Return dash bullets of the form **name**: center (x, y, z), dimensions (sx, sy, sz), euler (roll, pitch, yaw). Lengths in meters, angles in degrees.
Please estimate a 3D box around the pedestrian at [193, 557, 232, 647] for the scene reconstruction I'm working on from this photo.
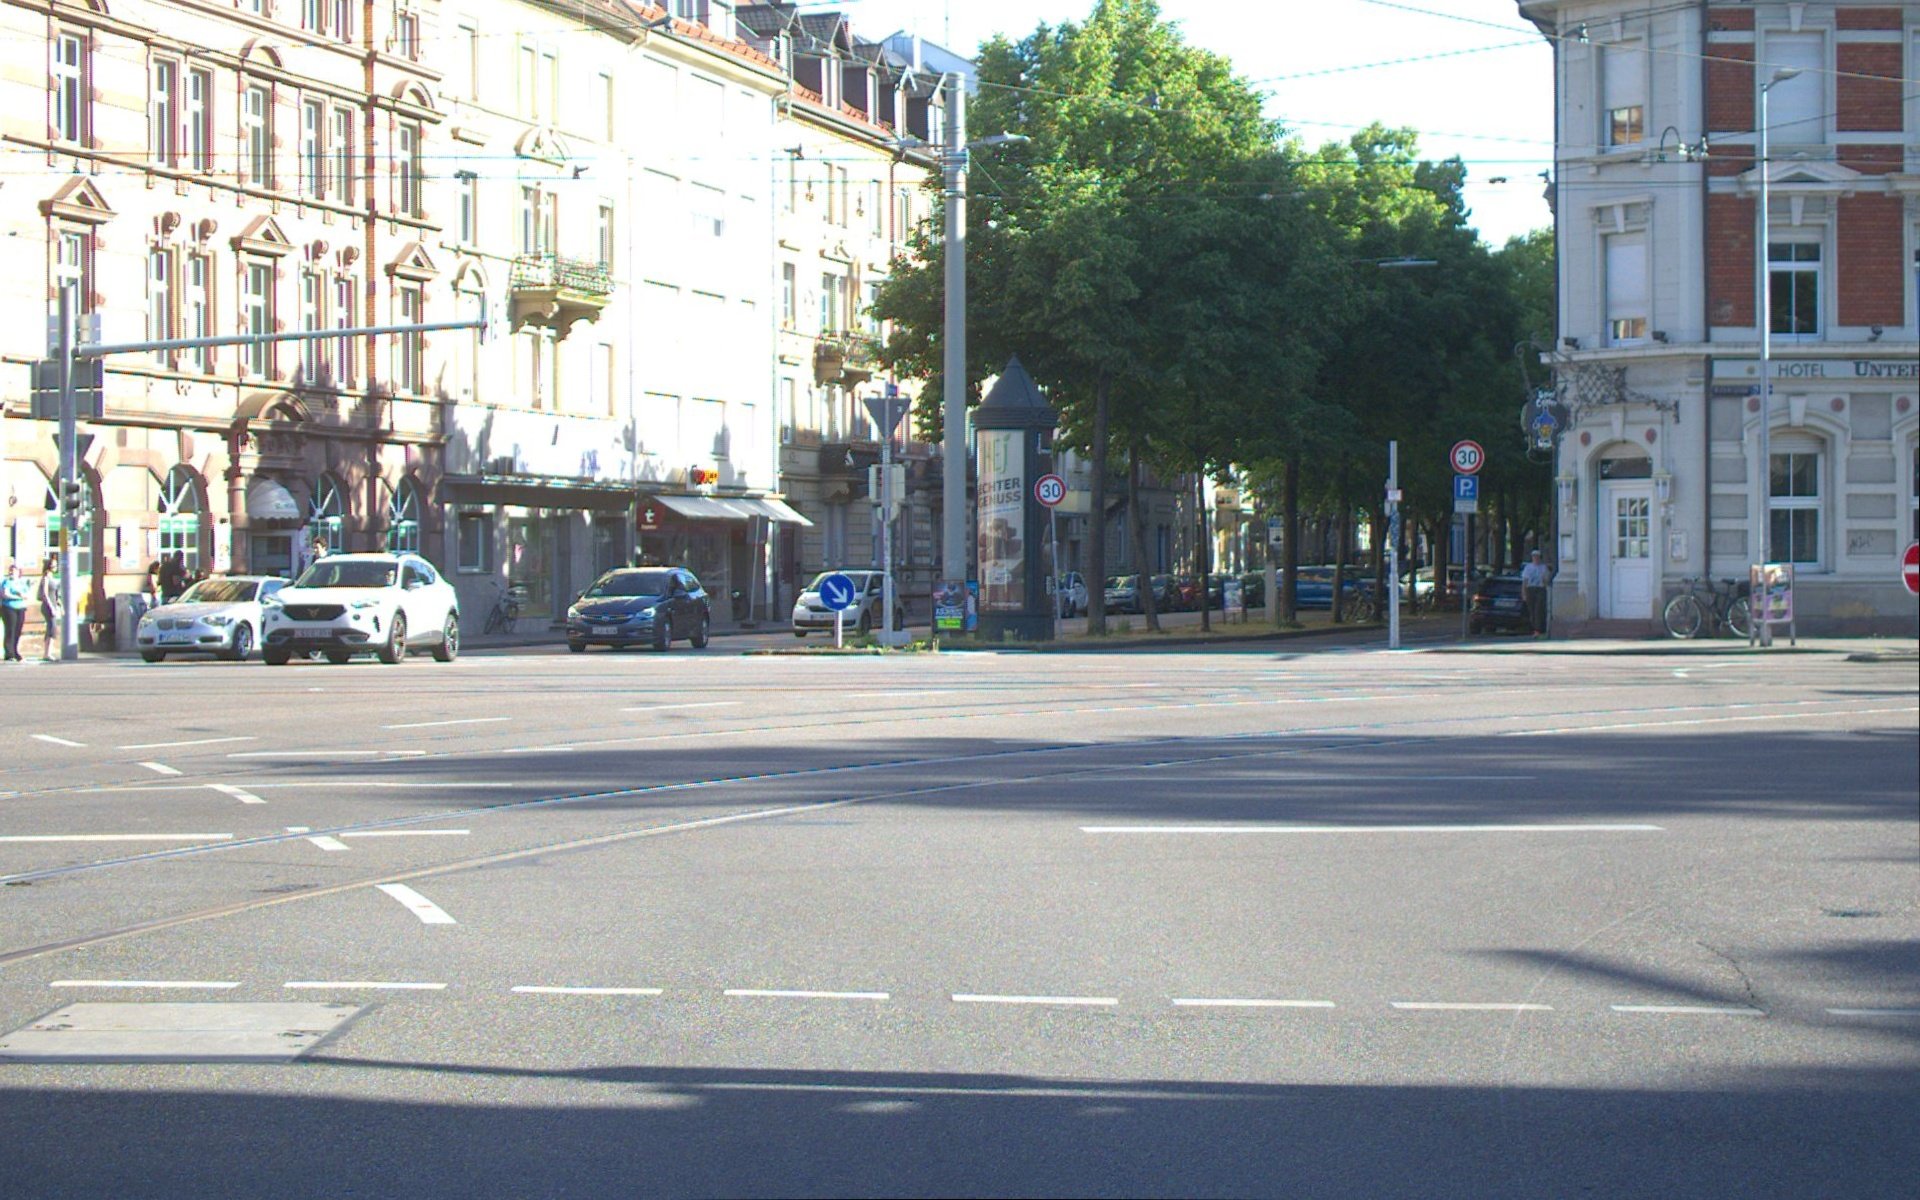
- **pedestrian**: center (-13.688, 0.029, 62.986), dimensions (0.536, 1.636, 0.552), euler (0, 1, 7)

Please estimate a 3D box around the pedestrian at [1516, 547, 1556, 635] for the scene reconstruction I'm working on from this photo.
- **pedestrian**: center (11.007, -0.180, 65.718), dimensions (0.716, 1.664, 0.939), euler (0, 1, 12)

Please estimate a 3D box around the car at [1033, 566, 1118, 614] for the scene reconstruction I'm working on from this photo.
- **car**: center (3.810, -0.341, 112.853), dimensions (1.995, 1.492, 4.031), euler (0, 1, 14)

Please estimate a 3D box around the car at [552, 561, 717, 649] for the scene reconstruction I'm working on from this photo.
- **car**: center (-5.765, 0.066, 61.503), dimensions (1.774, 1.492, 4.571), euler (0, 1, 10)

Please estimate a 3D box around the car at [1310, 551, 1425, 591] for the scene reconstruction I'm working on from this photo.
- **car**: center (15.921, -1.134, 134.395), dimensions (3.993, 1.540, 1.997), euler (0, 1, 28)

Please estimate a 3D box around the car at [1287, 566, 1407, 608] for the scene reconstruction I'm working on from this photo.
- **car**: center (14.446, -0.499, 128.284), dimensions (3.993, 1.540, 1.997), euler (0, 1, 28)

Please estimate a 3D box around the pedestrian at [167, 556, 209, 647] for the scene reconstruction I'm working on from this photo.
- **pedestrian**: center (-14.151, 0.022, 63.005), dimensions (0.627, 1.636, 0.537), euler (-1, 1, -27)

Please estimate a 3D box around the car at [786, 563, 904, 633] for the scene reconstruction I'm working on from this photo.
- **car**: center (-2.526, -0.071, 76.381), dimensions (1.719, 1.492, 3.581), euler (0, 1, 14)

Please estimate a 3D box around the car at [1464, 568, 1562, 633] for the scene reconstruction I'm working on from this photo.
- **car**: center (13.271, -0.004, 82.394), dimensions (1.995, 1.492, 4.031), euler (0, 1, 14)

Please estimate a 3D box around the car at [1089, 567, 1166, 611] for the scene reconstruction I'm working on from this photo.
- **car**: center (5.979, -0.405, 122.575), dimensions (1.995, 1.492, 4.031), euler (0, 1, 14)

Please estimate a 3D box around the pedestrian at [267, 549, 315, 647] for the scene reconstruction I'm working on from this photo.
- **pedestrian**: center (-13.085, -0.040, 67.245), dimensions (0.682, 1.902, 0.632), euler (0, 1, 16)

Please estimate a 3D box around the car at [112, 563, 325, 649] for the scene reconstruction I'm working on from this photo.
- **car**: center (-12.321, 0.074, 57.397), dimensions (1.994, 1.350, 4.220), euler (0, 1, 11)

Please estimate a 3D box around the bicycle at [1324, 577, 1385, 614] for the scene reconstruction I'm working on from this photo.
- **bicycle**: center (11.380, -0.134, 99.229), dimensions (0.582, 1.063, 1.949), euler (-1, 1, -37)

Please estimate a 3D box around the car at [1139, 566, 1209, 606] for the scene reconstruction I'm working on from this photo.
- **car**: center (8.213, -0.553, 131.546), dimensions (1.995, 1.492, 4.031), euler (0, 1, 14)

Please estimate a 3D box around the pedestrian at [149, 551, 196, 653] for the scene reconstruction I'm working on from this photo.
- **pedestrian**: center (-14.223, 0.028, 62.124), dimensions (0.580, 1.830, 0.632), euler (0, 1, 16)

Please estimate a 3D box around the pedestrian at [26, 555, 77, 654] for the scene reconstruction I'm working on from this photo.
- **pedestrian**: center (-15.116, 0.067, 57.209), dimensions (0.631, 1.636, 0.552), euler (0, 1, 13)

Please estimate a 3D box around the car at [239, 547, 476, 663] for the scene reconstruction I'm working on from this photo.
- **car**: center (-8.153, 0.040, 46.890), dimensions (1.994, 1.492, 4.346), euler (0, 1, 7)

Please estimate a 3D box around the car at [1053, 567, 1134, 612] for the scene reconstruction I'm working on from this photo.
- **car**: center (4.587, -0.375, 117.339), dimensions (1.995, 1.492, 4.031), euler (0, 1, 14)

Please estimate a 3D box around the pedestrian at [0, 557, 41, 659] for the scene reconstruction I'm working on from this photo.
- **pedestrian**: center (-15.403, 0.128, 55.947), dimensions (0.675, 1.636, 0.578), euler (0, 1, 13)

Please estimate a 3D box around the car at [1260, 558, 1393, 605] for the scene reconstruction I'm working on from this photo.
- **car**: center (12.321, -0.621, 115.641), dimensions (3.993, 1.540, 1.997), euler (0, 1, 28)

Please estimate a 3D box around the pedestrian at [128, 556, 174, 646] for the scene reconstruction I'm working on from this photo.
- **pedestrian**: center (-14.717, 0.019, 62.557), dimensions (0.631, 1.636, 0.552), euler (0, 1, 13)

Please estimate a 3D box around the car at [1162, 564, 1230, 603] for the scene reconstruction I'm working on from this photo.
- **car**: center (9.369, -0.646, 136.328), dimensions (1.995, 1.492, 4.031), euler (0, 1, 14)

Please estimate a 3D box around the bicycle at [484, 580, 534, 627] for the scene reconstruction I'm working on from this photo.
- **bicycle**: center (-10.429, 0.071, 79.533), dimensions (0.495, 1.063, 1.768), euler (0, 1, 16)

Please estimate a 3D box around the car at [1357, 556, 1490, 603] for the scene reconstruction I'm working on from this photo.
- **car**: center (15.694, -0.699, 116.456), dimensions (3.994, 1.540, 1.997), euler (0, 1, 31)

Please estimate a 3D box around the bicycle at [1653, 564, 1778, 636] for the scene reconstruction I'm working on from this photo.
- **bicycle**: center (12.555, 0.000, 57.155), dimensions (1.961, 1.186, 0.546), euler (0, 1, 5)
